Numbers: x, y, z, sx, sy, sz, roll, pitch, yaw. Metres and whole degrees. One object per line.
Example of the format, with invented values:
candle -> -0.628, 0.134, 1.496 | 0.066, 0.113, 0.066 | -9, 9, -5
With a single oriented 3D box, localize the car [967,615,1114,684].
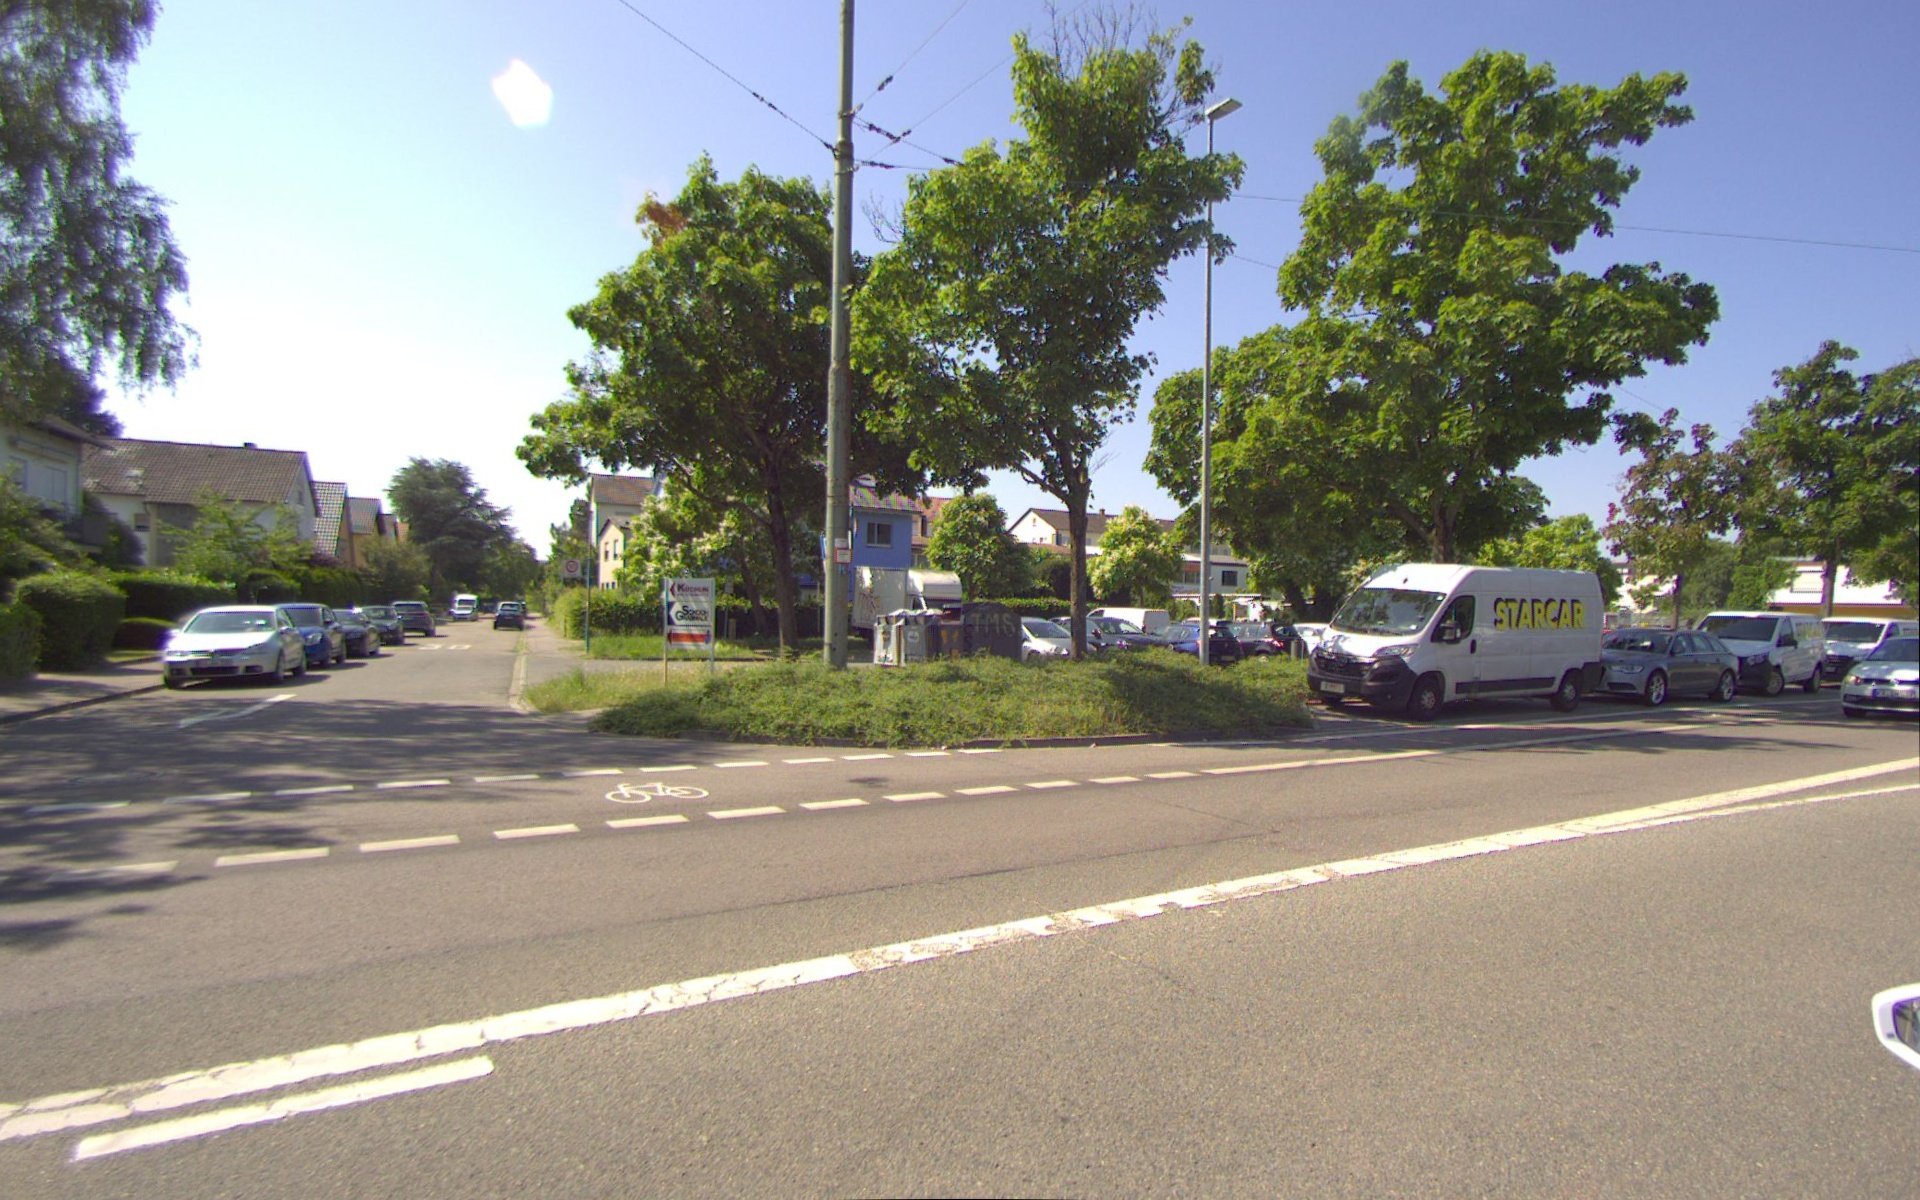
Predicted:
car -> 1.951, 1.190, 25.389 | 1.646, 1.564, 3.964 | 2, -1, -33

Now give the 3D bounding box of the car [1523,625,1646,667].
car -> 25.410, 1.831, 40.979 | 1.645, 1.564, 3.966 | 2, -1, -31

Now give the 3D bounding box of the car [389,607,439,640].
car -> -25.556, 1.083, 47.103 | 1.741, 1.475, 3.976 | 2, -1, -25

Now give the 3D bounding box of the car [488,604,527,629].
car -> -28.559, 1.041, 63.390 | 1.975, 1.506, 3.970 | 1, -1, -28

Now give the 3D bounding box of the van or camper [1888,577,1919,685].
van or camper -> 32.257, 1.035, 31.895 | 6.693, 3.285, 2.185 | 2, 1, -31

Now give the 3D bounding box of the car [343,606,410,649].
car -> -21.596, 1.003, 37.291 | 1.741, 1.475, 3.976 | 2, -1, -25

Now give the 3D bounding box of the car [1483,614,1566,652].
car -> 34.164, 1.973, 60.837 | 1.891, 2.229, 3.961 | 1, -1, -34

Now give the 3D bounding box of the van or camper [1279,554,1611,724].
van or camper -> 8.584, 0.661, 17.581 | 6.075, 2.548, 2.246 | 2, -1, -31

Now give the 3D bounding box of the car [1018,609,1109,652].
car -> 4.345, 1.269, 42.809 | 1.718, 1.751, 3.962 | 2, -1, -34

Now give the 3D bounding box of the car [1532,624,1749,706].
car -> 14.063, 1.277, 20.682 | 4.831, 1.474, 1.921 | 2, -1, -32

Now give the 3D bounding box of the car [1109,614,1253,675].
car -> 6.140, 1.221, 28.337 | 1.646, 1.564, 3.964 | 2, -1, -33

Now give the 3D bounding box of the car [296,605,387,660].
car -> -17.990, 0.929, 29.376 | 1.741, 1.475, 3.976 | 2, -1, -25

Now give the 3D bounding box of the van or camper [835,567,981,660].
van or camper -> -2.197, 0.528, 39.331 | 2.555, 3.287, 6.909 | 1, -1, -33

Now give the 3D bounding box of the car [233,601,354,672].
car -> -15.954, 0.847, 24.238 | 1.783, 1.545, 3.976 | 2, -1, -25

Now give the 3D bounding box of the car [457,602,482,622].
car -> -51.472, 1.215, 105.471 | 1.971, 2.040, 3.979 | 1, -1, -22

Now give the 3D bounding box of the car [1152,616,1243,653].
car -> 10.935, 1.564, 46.506 | 1.767, 1.564, 3.962 | 2, -1, -34

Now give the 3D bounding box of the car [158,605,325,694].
car -> -13.824, 0.884, 19.584 | 1.782, 1.545, 3.978 | 0, -1, -23

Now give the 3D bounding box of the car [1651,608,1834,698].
car -> 19.089, 1.233, 24.419 | 5.135, 1.966, 2.181 | 2, -1, -36

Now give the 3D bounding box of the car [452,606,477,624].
car -> -44.045, 1.320, 89.338 | 1.718, 1.550, 3.895 | 1, -1, -22

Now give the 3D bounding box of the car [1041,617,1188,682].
car -> 4.036, 1.262, 26.789 | 1.646, 1.564, 3.964 | 2, -1, -33

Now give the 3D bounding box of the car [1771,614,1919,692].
car -> 24.925, 1.416, 27.876 | 5.126, 1.966, 2.184 | 2, -1, -32

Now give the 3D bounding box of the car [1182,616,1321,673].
car -> 8.689, 1.296, 30.265 | 1.645, 1.564, 3.966 | 2, -1, -31

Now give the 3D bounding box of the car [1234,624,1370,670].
car -> 10.692, 1.458, 31.631 | 1.645, 1.287, 3.895 | 2, -1, -31

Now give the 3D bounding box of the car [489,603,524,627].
car -> -31.746, 1.036, 70.271 | 1.975, 1.649, 3.970 | 1, -1, -28

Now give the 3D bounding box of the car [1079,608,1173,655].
car -> 7.075, 1.317, 43.106 | 1.767, 1.916, 3.962 | 1, -1, -34

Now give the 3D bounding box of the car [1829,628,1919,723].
car -> 16.736, 1.250, 17.227 | 3.956, 1.484, 1.718 | 2, -1, -33
